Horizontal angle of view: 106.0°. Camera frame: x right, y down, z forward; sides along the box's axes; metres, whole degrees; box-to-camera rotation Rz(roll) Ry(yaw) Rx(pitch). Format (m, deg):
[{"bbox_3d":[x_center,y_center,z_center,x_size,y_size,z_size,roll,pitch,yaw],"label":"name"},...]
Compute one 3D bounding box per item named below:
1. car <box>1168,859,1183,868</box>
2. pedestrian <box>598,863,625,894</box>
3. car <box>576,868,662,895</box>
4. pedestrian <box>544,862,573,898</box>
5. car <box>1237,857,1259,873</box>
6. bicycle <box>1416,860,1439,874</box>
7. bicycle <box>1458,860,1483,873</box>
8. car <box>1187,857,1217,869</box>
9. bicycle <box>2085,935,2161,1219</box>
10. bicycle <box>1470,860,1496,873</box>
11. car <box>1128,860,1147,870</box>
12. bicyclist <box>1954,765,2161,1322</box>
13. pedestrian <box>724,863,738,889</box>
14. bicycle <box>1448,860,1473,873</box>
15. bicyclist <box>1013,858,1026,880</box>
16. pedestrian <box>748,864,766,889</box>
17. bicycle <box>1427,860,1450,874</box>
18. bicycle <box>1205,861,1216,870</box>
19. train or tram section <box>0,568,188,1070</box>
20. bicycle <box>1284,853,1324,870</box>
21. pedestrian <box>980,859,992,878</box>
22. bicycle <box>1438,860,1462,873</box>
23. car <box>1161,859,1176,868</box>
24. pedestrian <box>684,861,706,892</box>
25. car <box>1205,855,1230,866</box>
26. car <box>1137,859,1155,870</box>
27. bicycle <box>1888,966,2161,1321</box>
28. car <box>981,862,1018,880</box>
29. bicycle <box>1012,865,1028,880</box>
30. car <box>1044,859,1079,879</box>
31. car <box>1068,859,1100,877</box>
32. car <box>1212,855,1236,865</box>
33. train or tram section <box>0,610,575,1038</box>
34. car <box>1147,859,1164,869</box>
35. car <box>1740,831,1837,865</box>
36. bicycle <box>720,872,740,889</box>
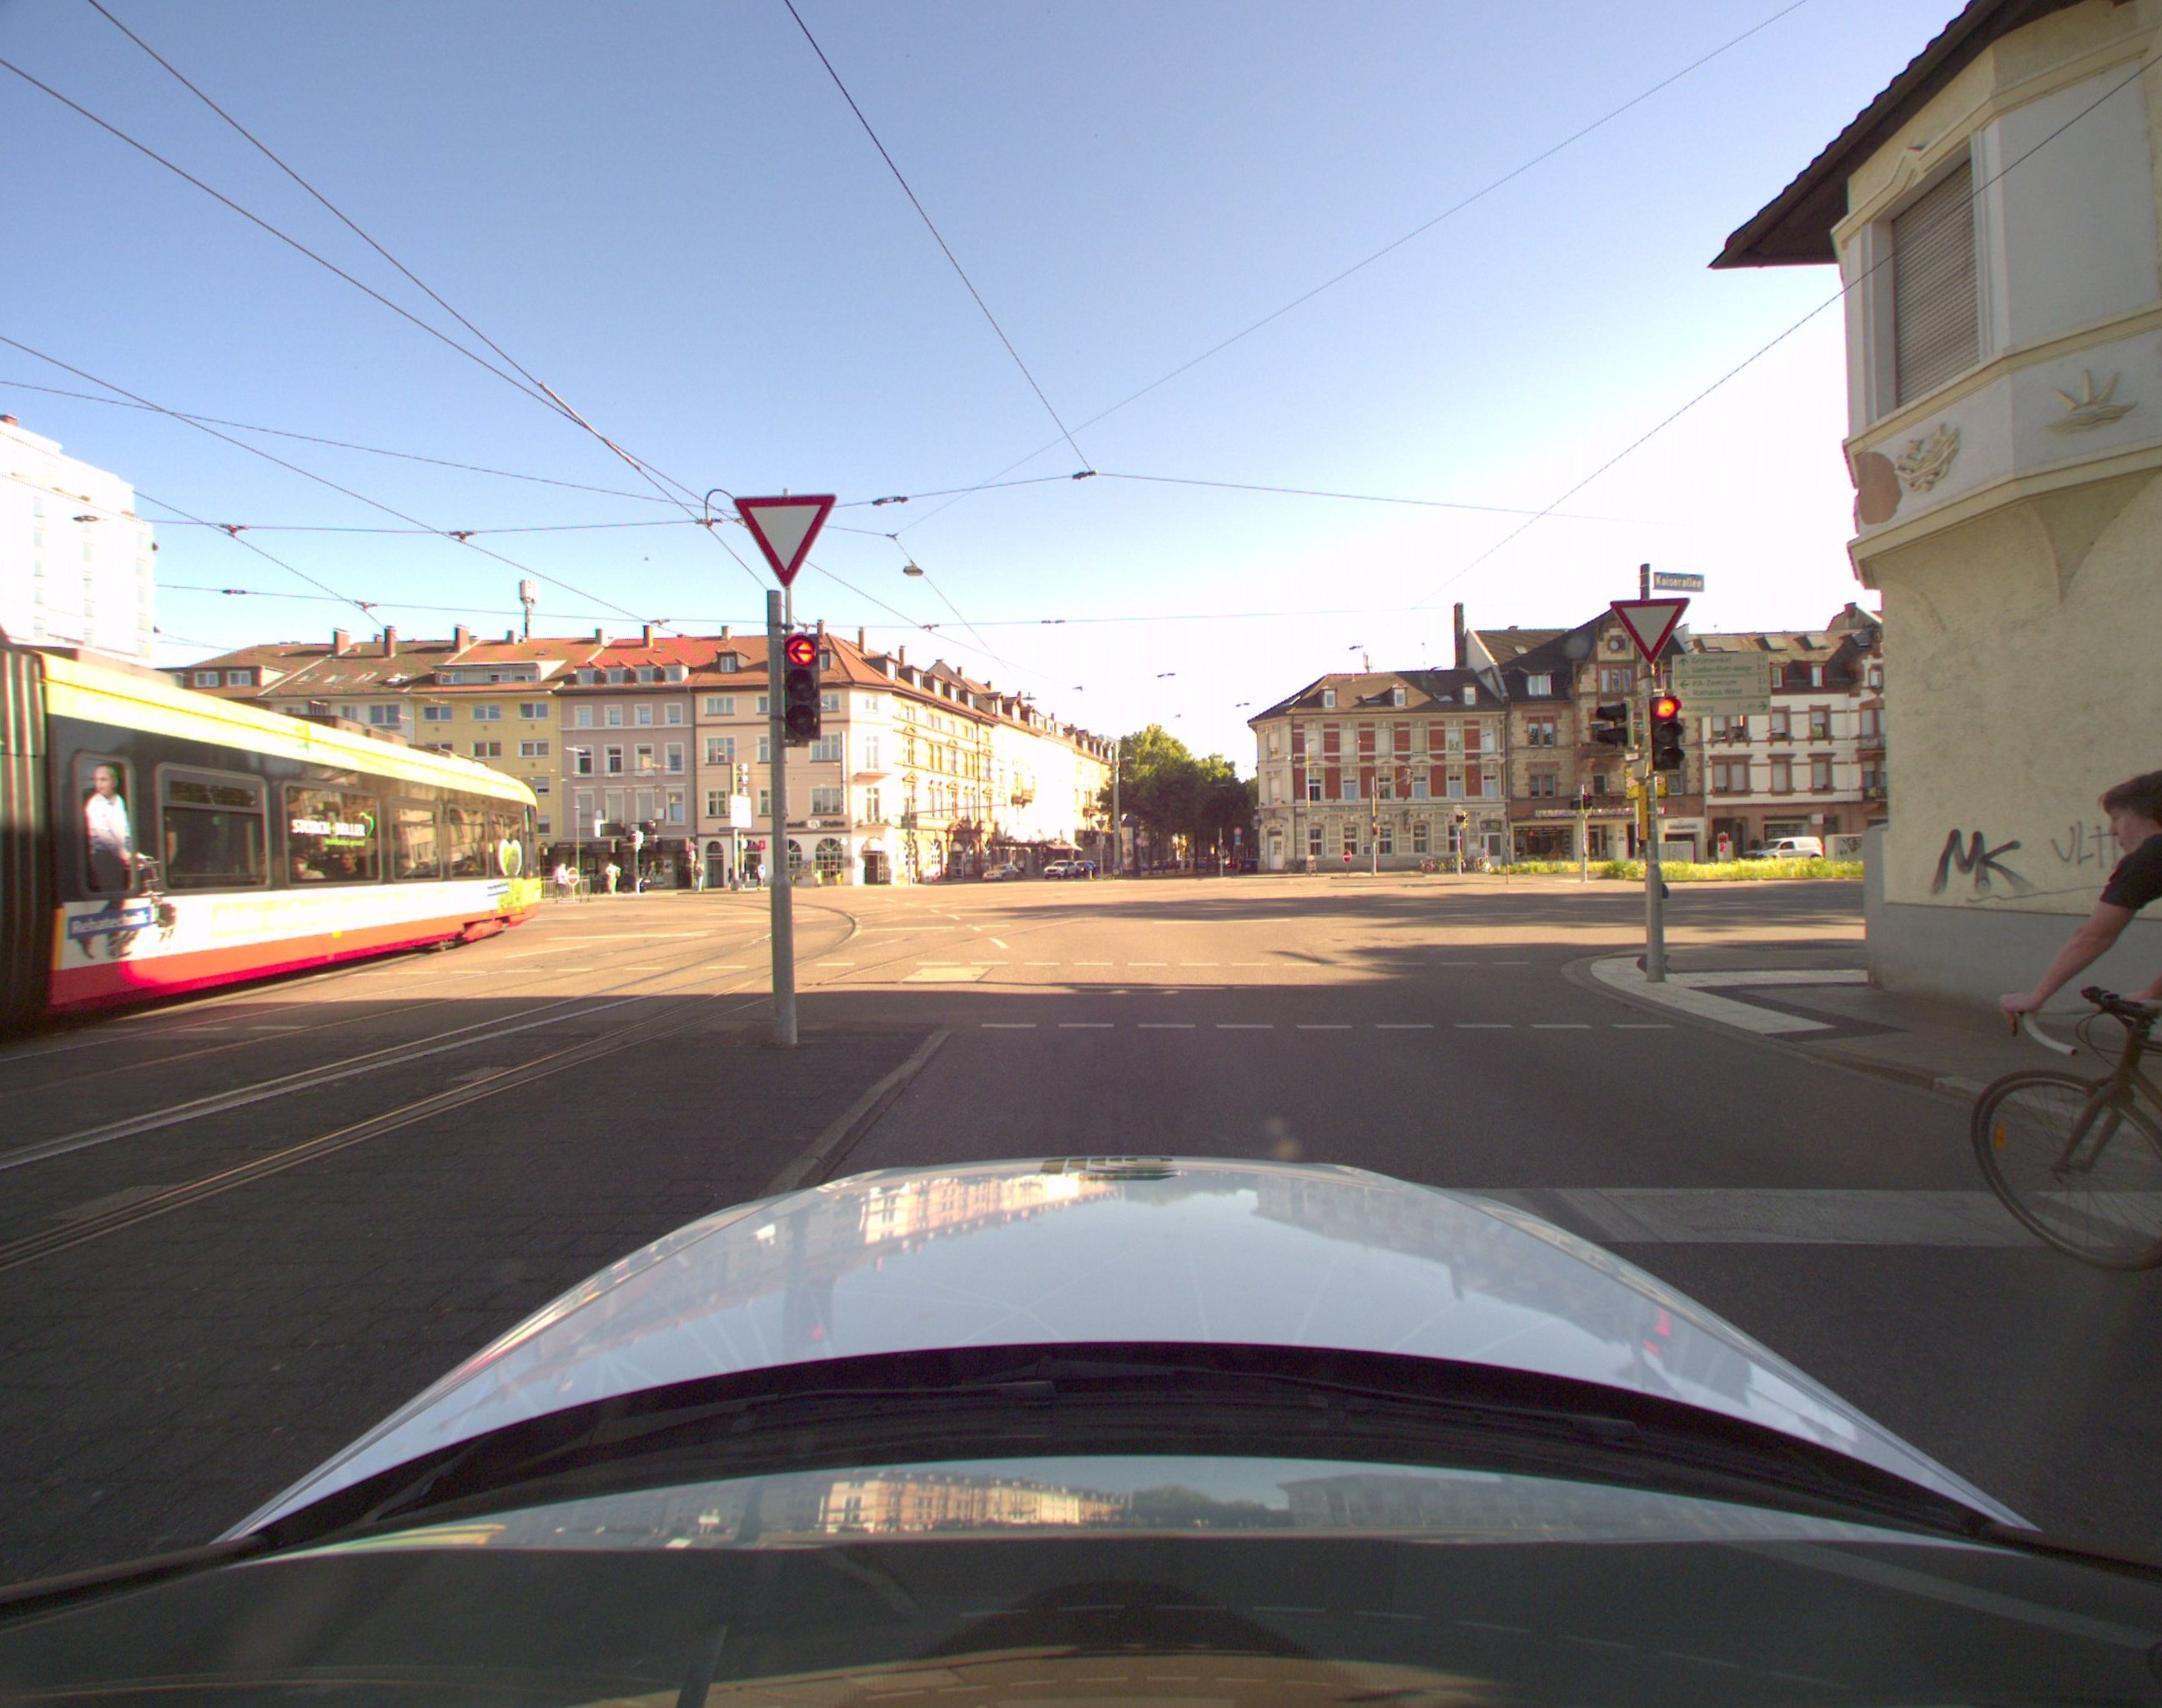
[{"bbox_3d":[15.718,1.528,135.596,1.664,1.354,3.608,-2,0,19],"label":"car"},{"bbox_3d":[-24.599,1.285,42.665,0.842,1.577,0.836,-1,-1,11],"label":"pedestrian"},{"bbox_3d":[-30.369,1.787,53.632,4.347,1.711,2.308,0,-1,4],"label":"car"},{"bbox_3d":[-23.758,1.175,37.047,0.657,1.577,0.889,-1,-1,29],"label":"pedestrian"},{"bbox_3d":[16.901,1.101,82.329,1.664,1.483,3.967,-2,0,19],"label":"car"},{"bbox_3d":[22.422,0.828,52.691,0.656,0.840,2.162,0,-1,3],"label":"bicycle"},{"bbox_3d":[25.201,0.808,52.697,0.656,0.840,2.162,0,-1,3],"label":"bicycle"},{"bbox_3d":[17.202,1.263,115.449,3.870,1.648,1.691,-2,0,19],"label":"car"},{"bbox_3d":[4.472,0.921,2.565,0.515,1.090,1.799,-1,2,5],"label":"bicycle"},{"bbox_3d":[26.005,0.802,52.711,0.656,0.840,2.162,0,-1,3],"label":"bicycle"},{"bbox_3d":[7.696,1.494,111.317,1.664,1.354,3.608,-2,0,19],"label":"car"},{"bbox_3d":[3.570,0.575,2.495,0.570,1.701,1.117,-1,0,2],"label":"bicyclist"},{"bbox_3d":[-22.787,1.442,53.007,0.580,1.670,0.753,0,-1,2],"label":"pedestrian"},{"bbox_3d":[24.564,0.813,52.742,0.656,0.840,2.162,0,-1,3],"label":"bicycle"},{"bbox_3d":[-4.944,1.210,65.409,0.772,1.803,1.060,-1,-1,16],"label":"bicyclist"},{"bbox_3d":[-20.410,1.396,51.342,0.838,1.577,0.718,0,-1,-45],"label":"pedestrian"},{"bbox_3d":[23.157,0.823,52.750,0.656,0.840,2.162,0,-1,3],"label":"bicycle"},{"bbox_3d":[15.767,1.397,99.274,0.636,1.021,1.839,0,-1,-12],"label":"bicycle"},{"bbox_3d":[-9.034,-0.268,1.067,2.930,3.814,12.788,-1,0,-7],"label":"train or tram section"},{"bbox_3d":[15.600,0.503,57.054,2.547,1.174,0.818,0,-1,-1],"label":"bicycle"},{"bbox_3d":[-8.443,1.265,72.428,0.770,1.670,0.834,-1,-1,17],"label":"pedestrian"},{"bbox_3d":[23.881,0.818,52.735,0.656,0.840,2.162,0,-1,3],"label":"bicycle"},{"bbox_3d":[14.031,1.509,130.603,1.664,1.354,3.608,-2,0,19],"label":"car"},{"bbox_3d":[-20.000,1.140,42.217,0.545,1.577,0.838,-1,-1,29],"label":"pedestrian"},{"bbox_3d":[21.447,1.066,127.715,3.549,1.648,1.691,-2,0,19],"label":"car"},{"bbox_3d":[9.171,1.498,115.441,1.664,1.354,3.608,-2,0,19],"label":"car"},{"bbox_3d":[3.595,0.956,2.503,0.516,0.970,1.750,-1,0,2],"label":"bicycle"},{"bbox_3d":[-6.713,1.426,67.221,1.664,1.354,3.608,-2,0,19],"label":"car"},{"bbox_3d":[-4.898,1.485,65.529,0.696,1.118,1.642,-1,-1,16],"label":"bicycle"},{"bbox_3d":[-1.608,1.216,67.505,1.664,1.483,3.789,-2,0,19],"label":"car"},{"bbox_3d":[0.304,1.243,73.764,1.664,1.483,3.967,-2,0,19],"label":"car"},{"bbox_3d":[23.353,0.974,133.148,3.549,1.648,1.691,-2,0,19],"label":"car"},{"bbox_3d":[-11.549,-0.218,12.967,2.940,3.814,12.048,-1,0,-18],"label":"train or tram section"},{"bbox_3d":[11.241,1.543,122.357,1.664,1.354,3.608,-2,0,19],"label":"car"},{"bbox_3d":[45.439,-0.376,52.395,4.406,2.013,2.002,-1,0,4],"label":"car"},{"bbox_3d":[-22.787,1.738,52.914,0.570,1.077,1.497,0,-1,2],"label":"bicycle"}]
